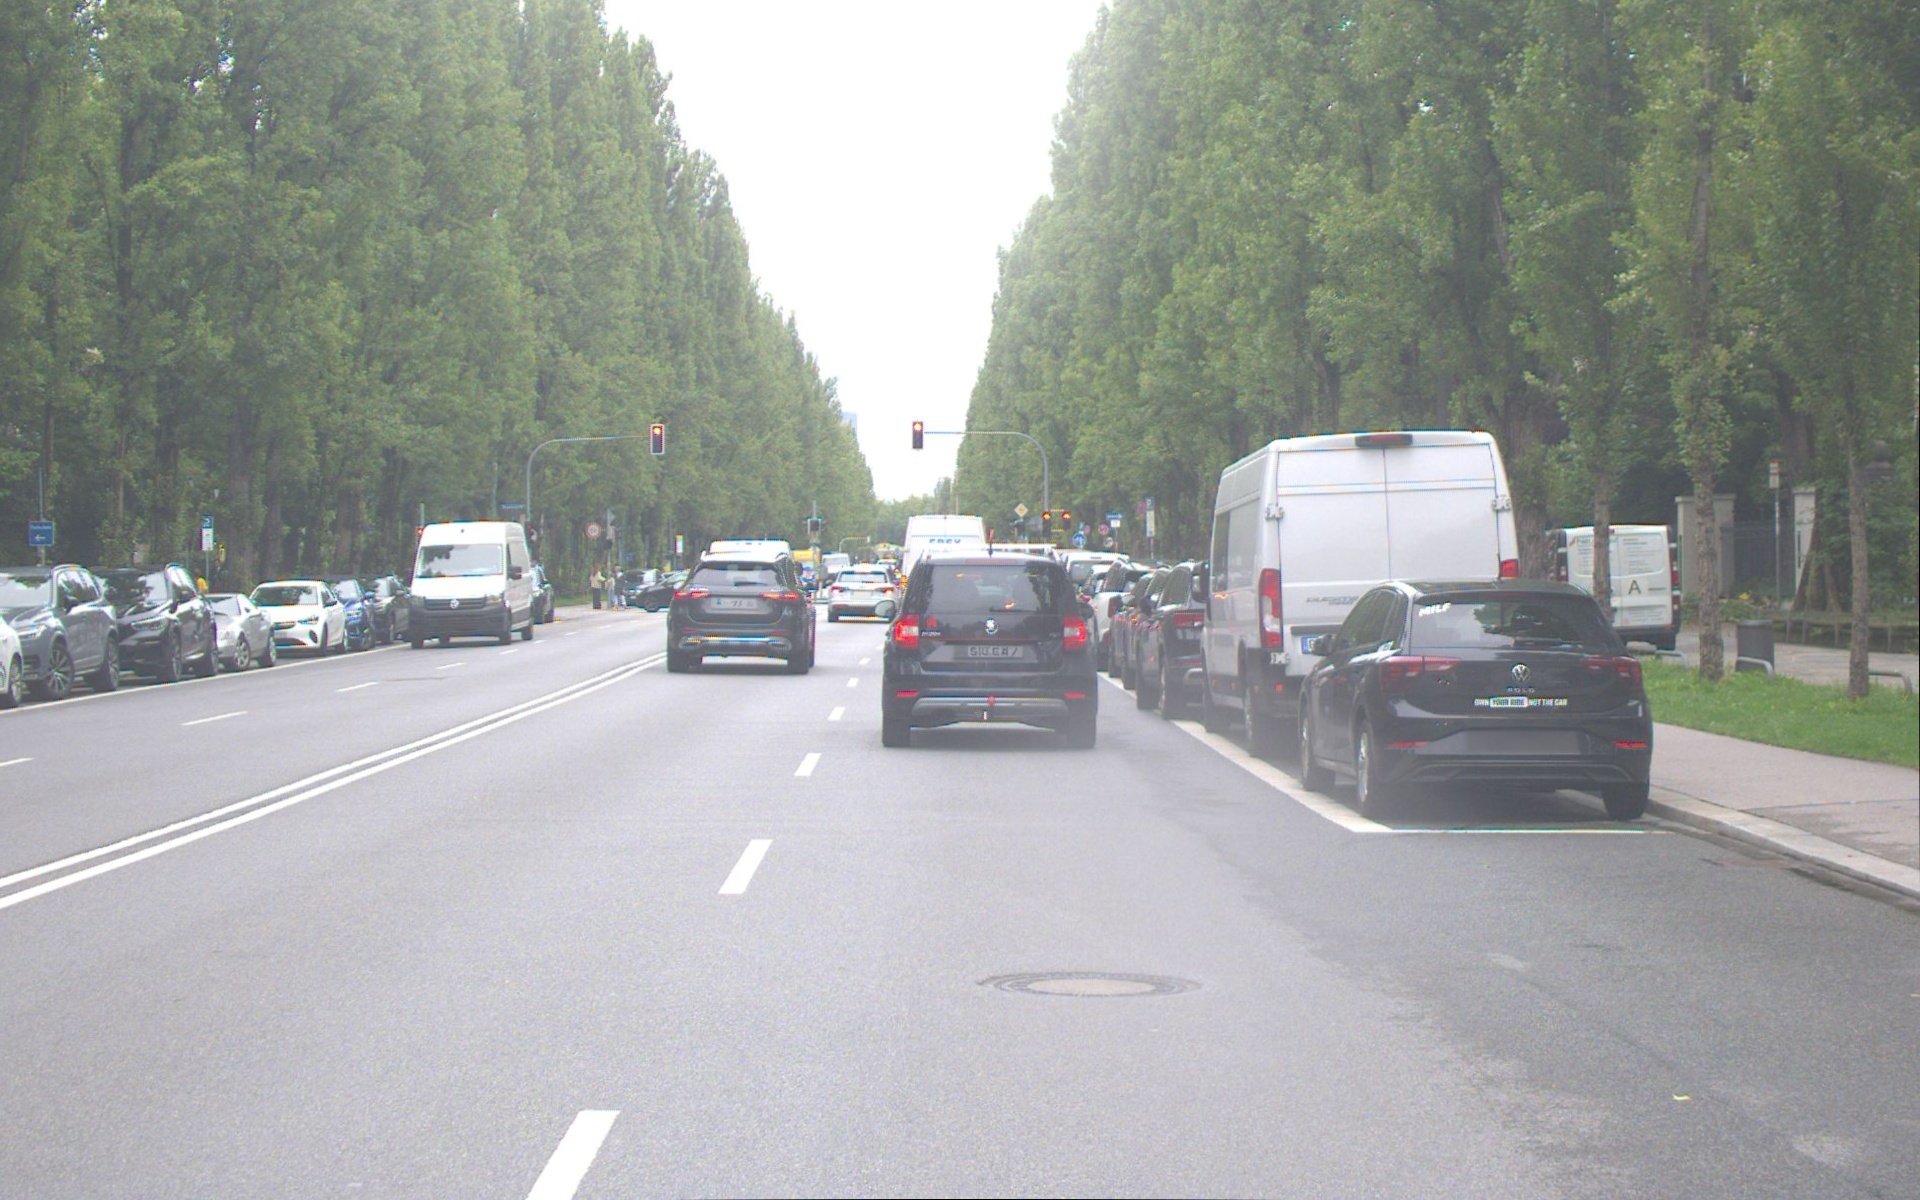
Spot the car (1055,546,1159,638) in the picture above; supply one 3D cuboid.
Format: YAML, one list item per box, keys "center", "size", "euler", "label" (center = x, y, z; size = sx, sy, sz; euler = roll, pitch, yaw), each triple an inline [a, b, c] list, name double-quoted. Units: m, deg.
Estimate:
- center: [3.086, -0.206, 72.806]
  size: [1.851, 1.875, 4.169]
  euler: [-1, 1, -2]
  label: "car"

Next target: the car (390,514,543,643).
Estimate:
- center: [-10.196, -0.471, 71.526]
  size: [2.228, 2.475, 6.759]
  euler: [-2, 1, -1]
  label: "car"

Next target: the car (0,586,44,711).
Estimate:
- center: [-12.159, 0.618, 40.246]
  size: [1.704, 1.454, 4.273]
  euler: [-3, 1, -1]
  label: "car"

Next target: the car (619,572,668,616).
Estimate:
- center: [-13.129, -0.260, 142.924]
  size: [1.688, 1.777, 3.775]
  euler: [-1, 1, 0]
  label: "car"

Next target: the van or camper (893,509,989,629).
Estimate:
- center: [-0.438, -0.698, 75.478]
  size: [1.975, 2.540, 4.025]
  euler: [-1, 1, -2]
  label: "van or camper"

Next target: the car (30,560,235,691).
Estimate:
- center: [-12.303, 0.333, 51.421]
  size: [1.940, 1.761, 4.896]
  euler: [-3, 1, -2]
  label: "car"

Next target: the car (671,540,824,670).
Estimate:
- center: [-2.903, 0.035, 47.708]
  size: [1.781, 1.614, 4.025]
  euler: [4, 1, 0]
  label: "car"

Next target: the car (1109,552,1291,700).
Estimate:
- center: [2.775, 0.257, 40.566]
  size: [1.784, 1.612, 4.638]
  euler: [-1, 1, 0]
  label: "car"

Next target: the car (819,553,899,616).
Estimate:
- center: [-2.592, -0.421, 88.569]
  size: [1.993, 1.555, 4.000]
  euler: [-1, 1, -1]
  label: "car"

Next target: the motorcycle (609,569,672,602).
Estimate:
- center: [-12.467, -0.556, 134.060]
  size: [2.363, 1.265, 0.930]
  euler: [0, 1, 1]
  label: "motorcycle"

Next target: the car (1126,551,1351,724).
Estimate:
- center: [2.800, 0.329, 35.453]
  size: [1.784, 1.643, 4.418]
  euler: [-1, 1, -2]
  label: "car"

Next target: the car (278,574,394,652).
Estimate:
- center: [-12.645, 0.245, 69.850]
  size: [1.709, 1.446, 3.586]
  euler: [-3, 1, -2]
  label: "car"

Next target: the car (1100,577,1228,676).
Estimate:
- center: [3.378, 0.409, 57.631]
  size: [1.880, 1.535, 4.464]
  euler: [-1, 1, 0]
  label: "car"

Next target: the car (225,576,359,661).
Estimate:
- center: [-12.712, 0.326, 65.658]
  size: [1.770, 1.447, 4.234]
  euler: [-3, 1, -2]
  label: "car"

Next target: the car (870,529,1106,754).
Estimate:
- center: [0.222, 0.312, 29.660]
  size: [1.855, 1.764, 4.000]
  euler: [1, 1, 0]
  label: "car"

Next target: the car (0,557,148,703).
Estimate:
- center: [-12.343, 0.380, 45.553]
  size: [1.909, 1.783, 5.180]
  euler: [-3, 1, -1]
  label: "car"

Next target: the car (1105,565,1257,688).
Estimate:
- center: [2.888, 0.316, 45.596]
  size: [1.702, 1.514, 4.295]
  euler: [-1, 1, 0]
  label: "car"

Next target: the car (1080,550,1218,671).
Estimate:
- center: [2.734, 0.117, 50.527]
  size: [1.743, 1.670, 4.580]
  euler: [-1, 1, 0]
  label: "car"

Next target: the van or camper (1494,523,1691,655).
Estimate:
- center: [9.768, -0.200, 53.536]
  size: [2.076, 1.927, 5.368]
  euler: [0, 1, 0]
  label: "van or camper"

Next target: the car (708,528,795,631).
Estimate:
- center: [-4.445, -0.408, 73.522]
  size: [1.781, 2.104, 4.025]
  euler: [1, -1, -3]
  label: "car"

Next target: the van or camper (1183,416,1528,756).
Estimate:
- center: [3.174, -0.140, 28.995]
  size: [2.139, 2.531, 6.417]
  euler: [0, 1, 0]
  label: "van or camper"

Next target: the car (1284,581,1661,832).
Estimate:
- center: [3.143, 0.601, 21.816]
  size: [1.676, 1.415, 4.000]
  euler: [0, 1, -2]
  label: "car"

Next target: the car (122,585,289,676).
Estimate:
- center: [-12.446, 0.473, 56.953]
  size: [1.826, 1.329, 4.234]
  euler: [-3, 1, -1]
  label: "car"
